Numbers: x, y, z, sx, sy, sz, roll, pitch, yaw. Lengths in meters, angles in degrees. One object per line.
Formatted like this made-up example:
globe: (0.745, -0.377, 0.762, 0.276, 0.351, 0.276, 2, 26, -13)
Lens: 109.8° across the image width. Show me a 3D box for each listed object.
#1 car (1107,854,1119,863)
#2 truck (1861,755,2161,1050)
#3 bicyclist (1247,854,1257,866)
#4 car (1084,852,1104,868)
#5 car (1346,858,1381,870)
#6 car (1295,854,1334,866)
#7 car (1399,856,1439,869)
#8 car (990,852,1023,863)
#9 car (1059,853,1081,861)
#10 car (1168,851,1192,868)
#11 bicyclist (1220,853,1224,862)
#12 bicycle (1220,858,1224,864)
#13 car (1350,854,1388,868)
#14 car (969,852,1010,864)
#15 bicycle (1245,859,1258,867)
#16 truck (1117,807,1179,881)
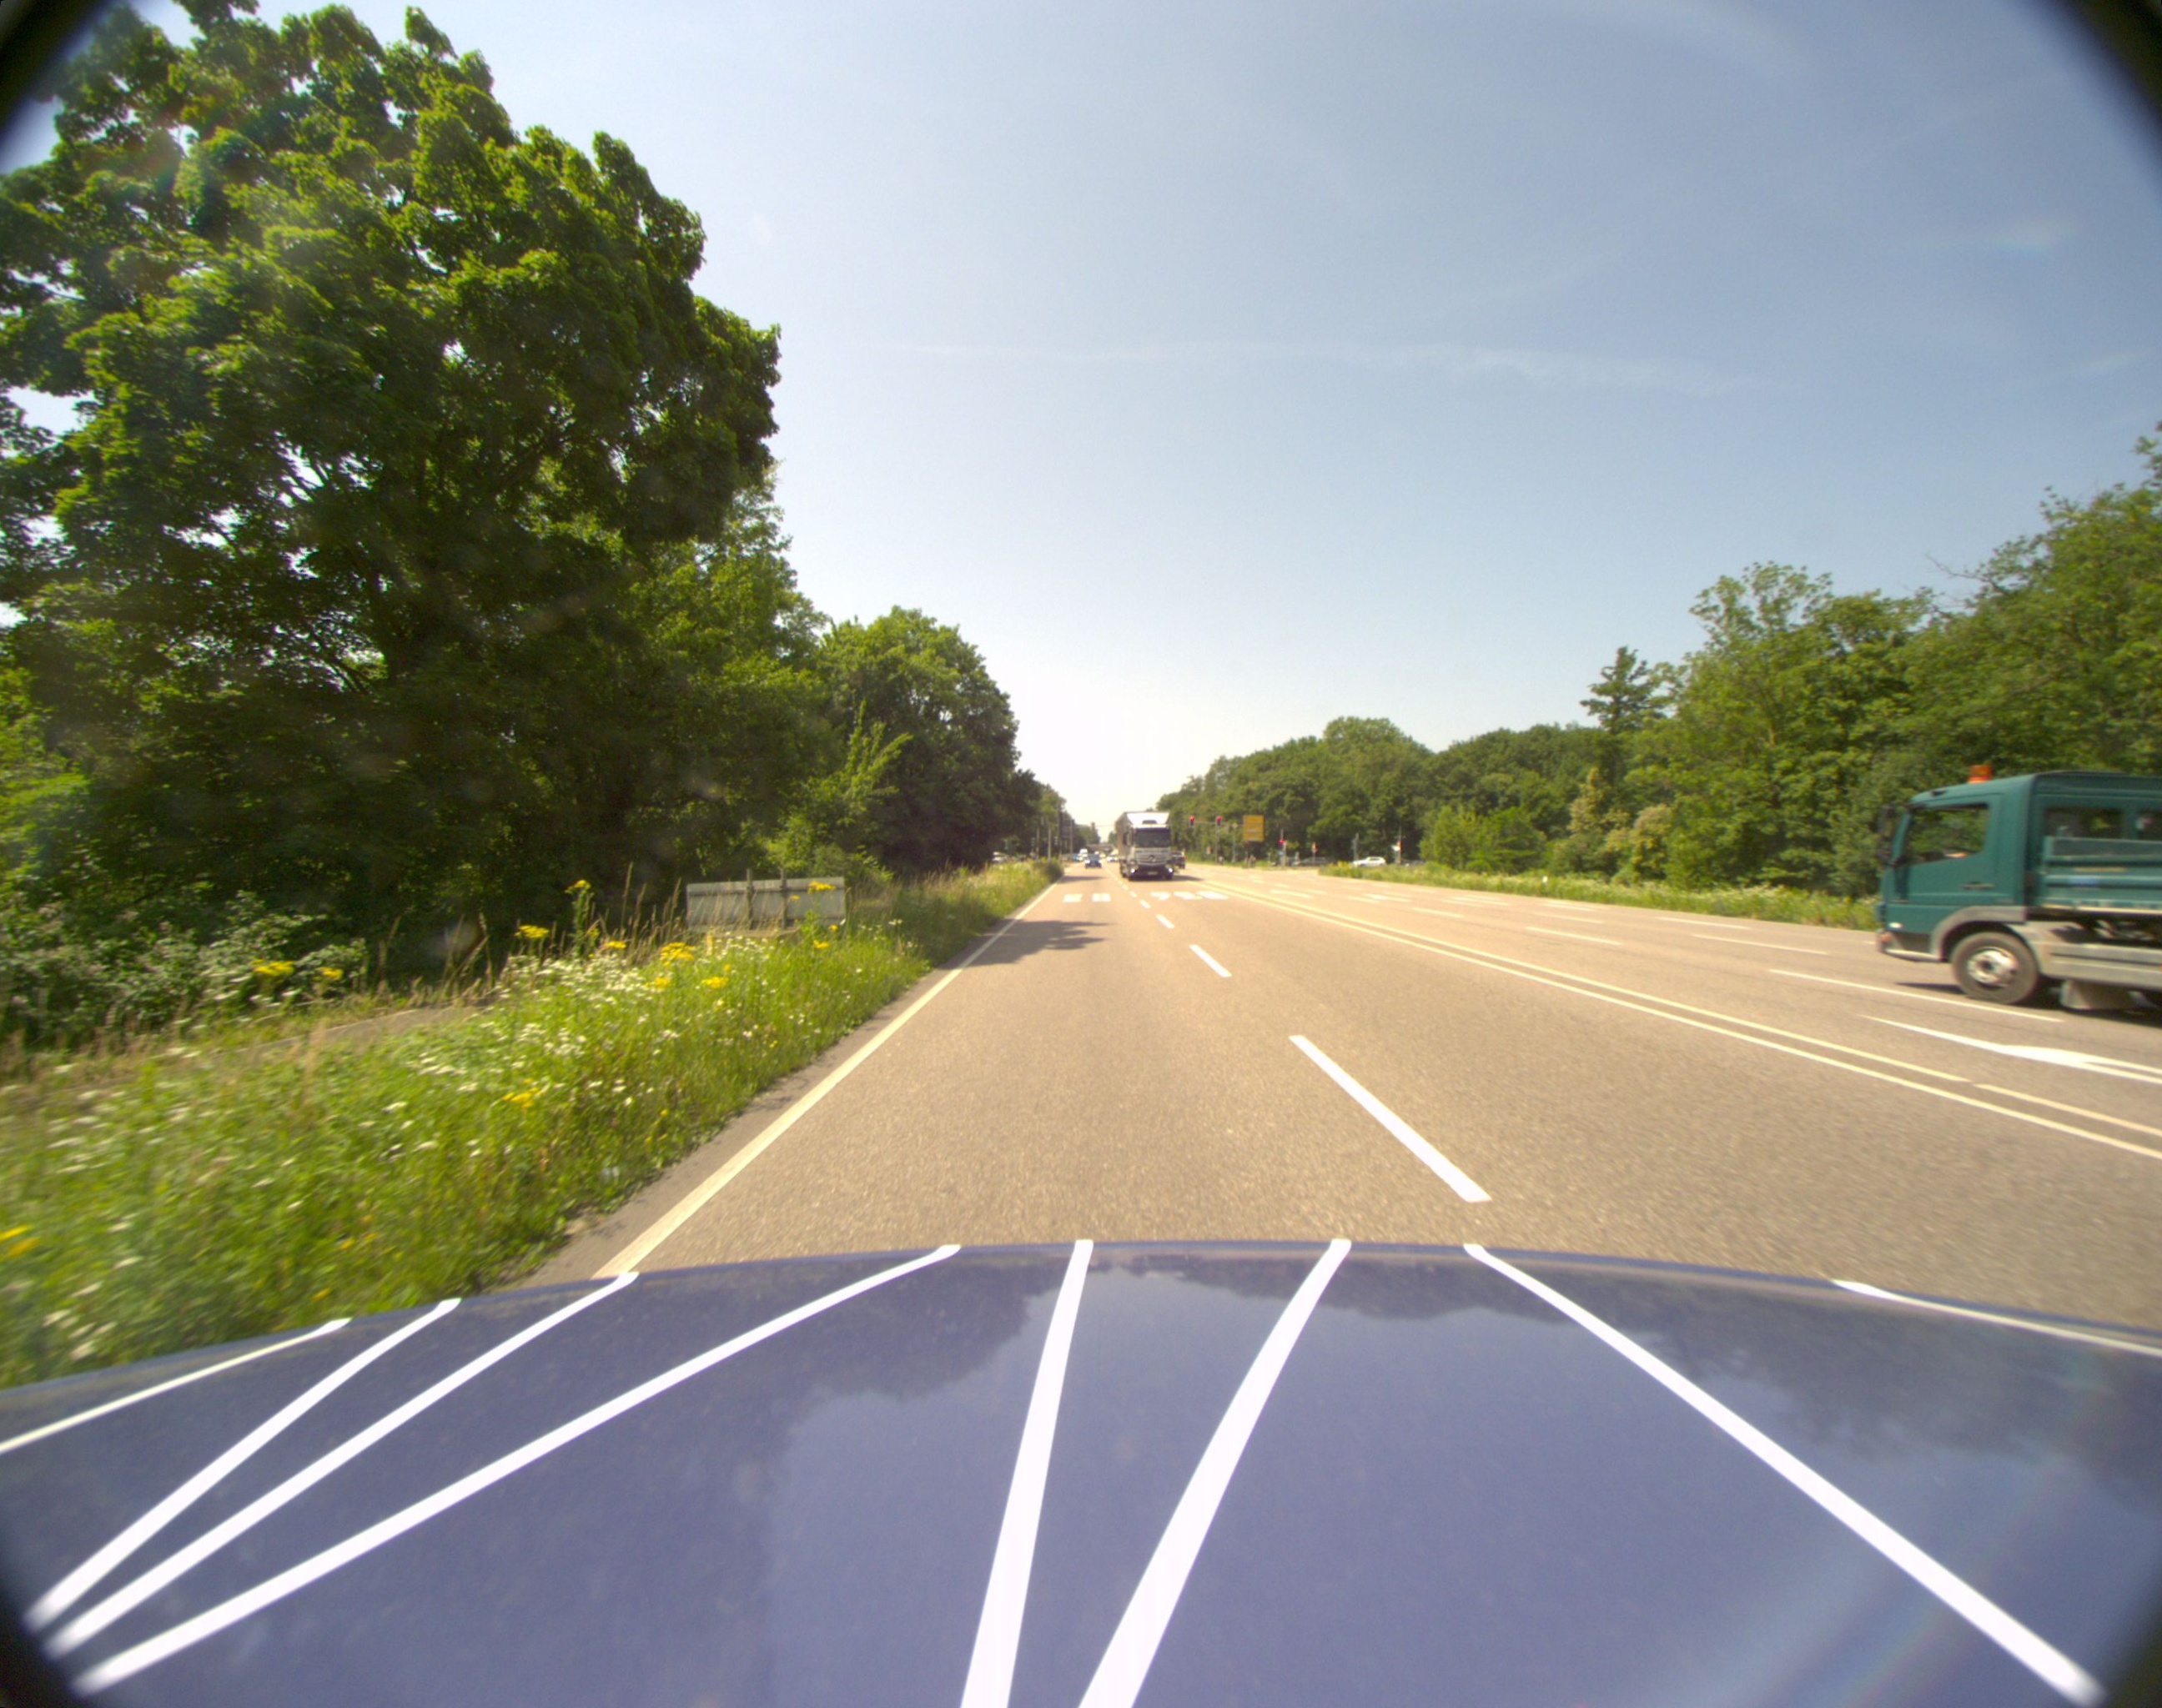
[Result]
car: (5.373, 0.706, 129.200, 1.998, 1.543, 4.000, 1, 0, 1)
truck: (10.881, 0.482, 6.162, 2.460, 2.641, 6.491, 3, 0, 2)
bicyclist: (20.778, 0.776, 92.396, 0.924, 1.451, 0.718, 1, 1, 39)
car: (1.305, 0.627, 79.218, 1.992, 1.575, 4.364, 0, 0, 0)
car: (42.057, 1.489, 113.174, 4.409, 1.626, 1.872, 1, 0, 0)
car: (32.570, 0.841, 106.180, 4.817, 1.510, 1.862, 1, 0, 0)
car: (48.795, 1.229, 109.730, 4.817, 1.747, 2.000, 1, 0, 0)
car: (-9.822, 0.477, 100.701, 4.102, 1.438, 1.995, 1, 0, 0)
car: (-1.916, 0.503, 130.844, 1.793, 1.431, 4.237, 0, 0, 30)
car: (10.482, 0.538, 81.057, 1.998, 1.668, 5.366, 2, 0, 2)
bicyclist: (22.824, 0.635, 123.027, 0.660, 1.456, 0.810, 1, 1, 11)
bicycle: (22.818, 1.179, 122.995, 0.566, 0.918, 1.606, 1, 0, 11)
car: (41.655, 0.990, 109.995, 4.816, 1.884, 2.066, 1, 0, 2)
car: (-11.717, 0.485, 97.166, 4.943, 1.490, 2.020, 1, 1, 2)
bicycle: (20.710, 1.086, 92.371, 0.722, 1.057, 1.874, 1, 0, 39)
truck: (3.813, -0.552, 45.953, 2.753, 3.862, 11.320, -1, 0, 0)
